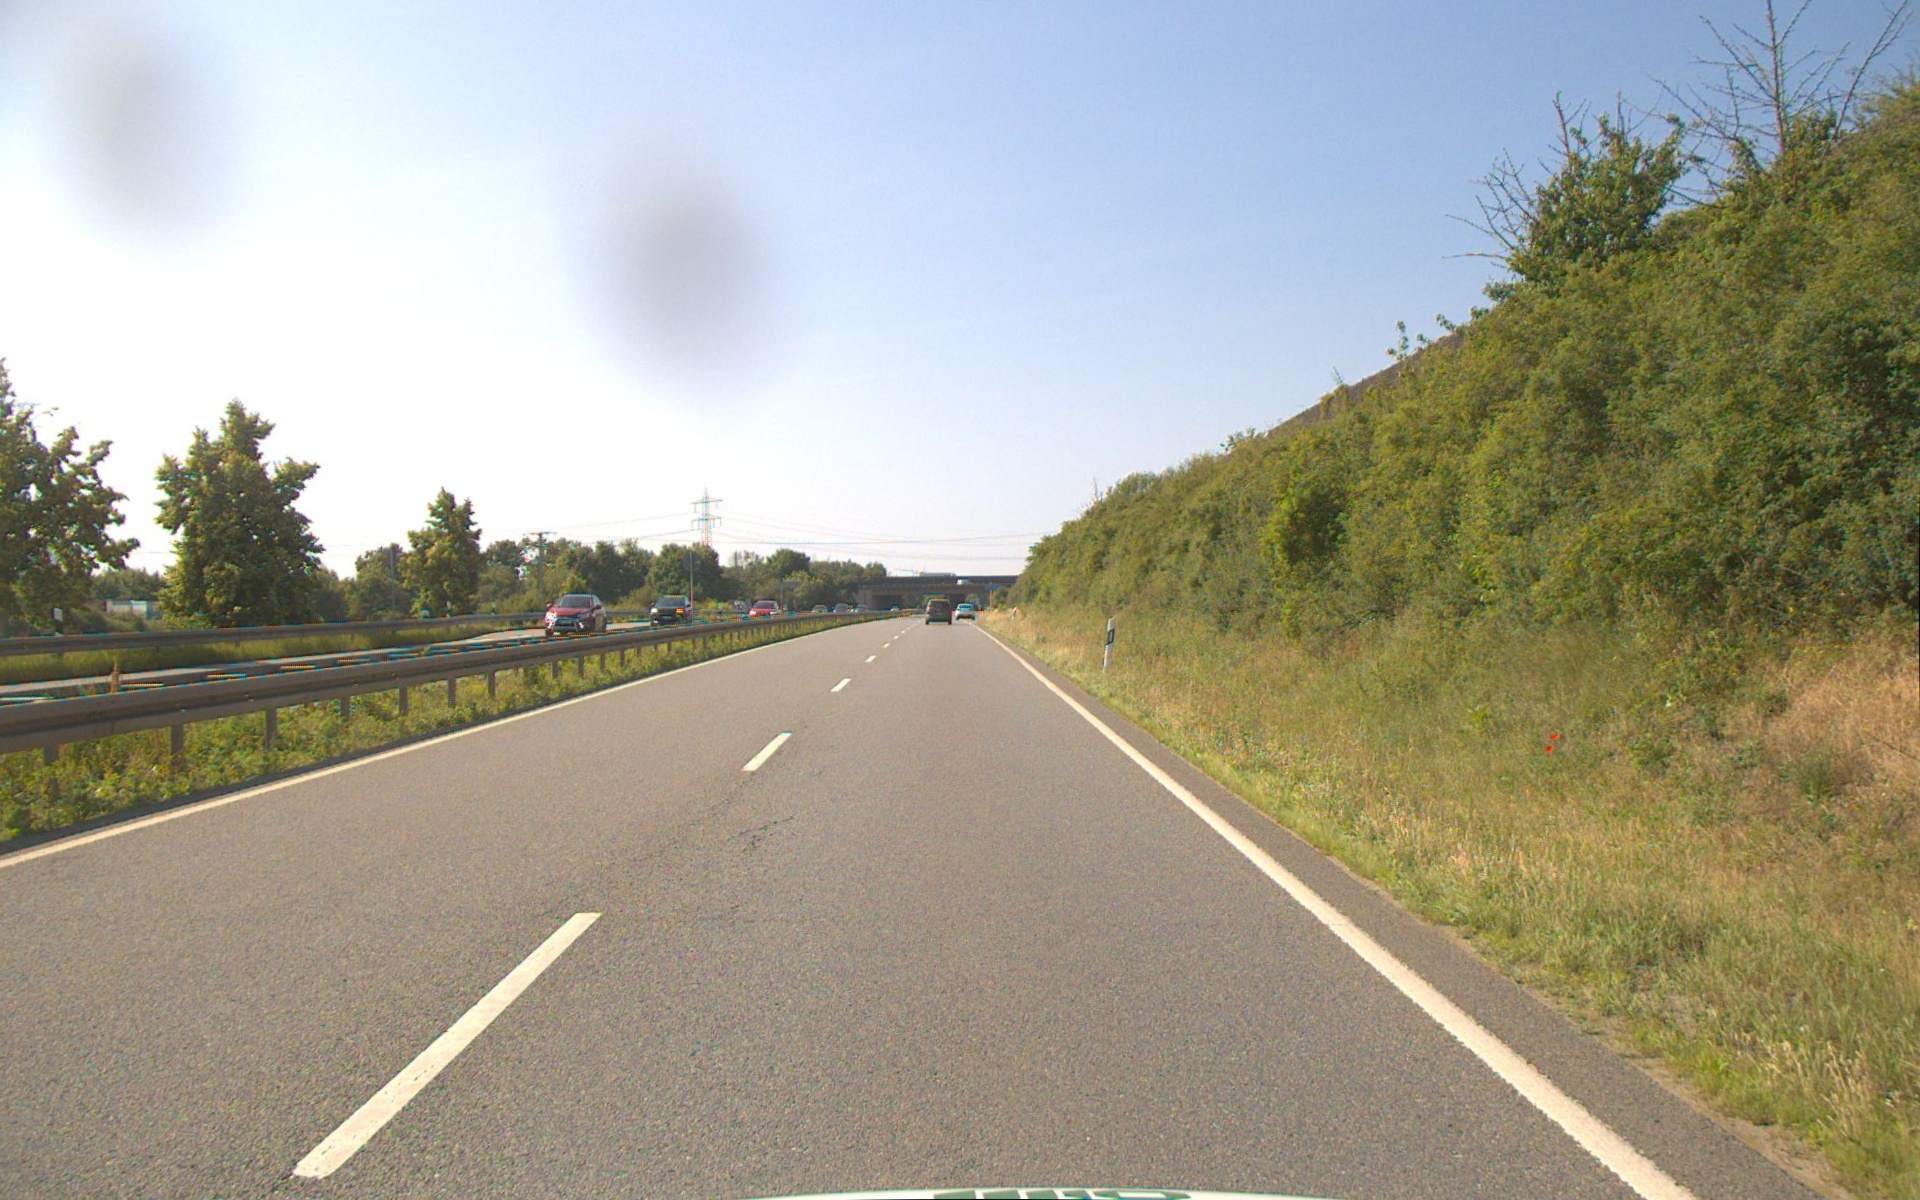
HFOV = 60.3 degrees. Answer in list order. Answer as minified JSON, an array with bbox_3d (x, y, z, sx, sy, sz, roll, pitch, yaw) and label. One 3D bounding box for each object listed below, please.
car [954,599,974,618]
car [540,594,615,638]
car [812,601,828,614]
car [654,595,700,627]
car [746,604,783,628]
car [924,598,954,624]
[{"bbox_3d":[0.388,0.752,153.460,1.759,1.694,4.001,2,0,2],"label":"car"},{"bbox_3d":[-14.808,0.601,64.207,1.806,1.621,4.773,1,0,-1],"label":"car"},{"bbox_3d":[-16.936,0.895,200.460,1.678,1.475,4.321,0,0,-2],"label":"car"},{"bbox_3d":[-14.749,0.565,86.300,1.691,1.623,4.220,0,0,-1],"label":"car"},{"bbox_3d":[-12.627,1.024,106.991,1.838,1.519,5.094,0,0,-1],"label":"car"},{"bbox_3d":[-1.404,0.734,110.291,1.811,1.673,4.001,0,0,2],"label":"car"}]
